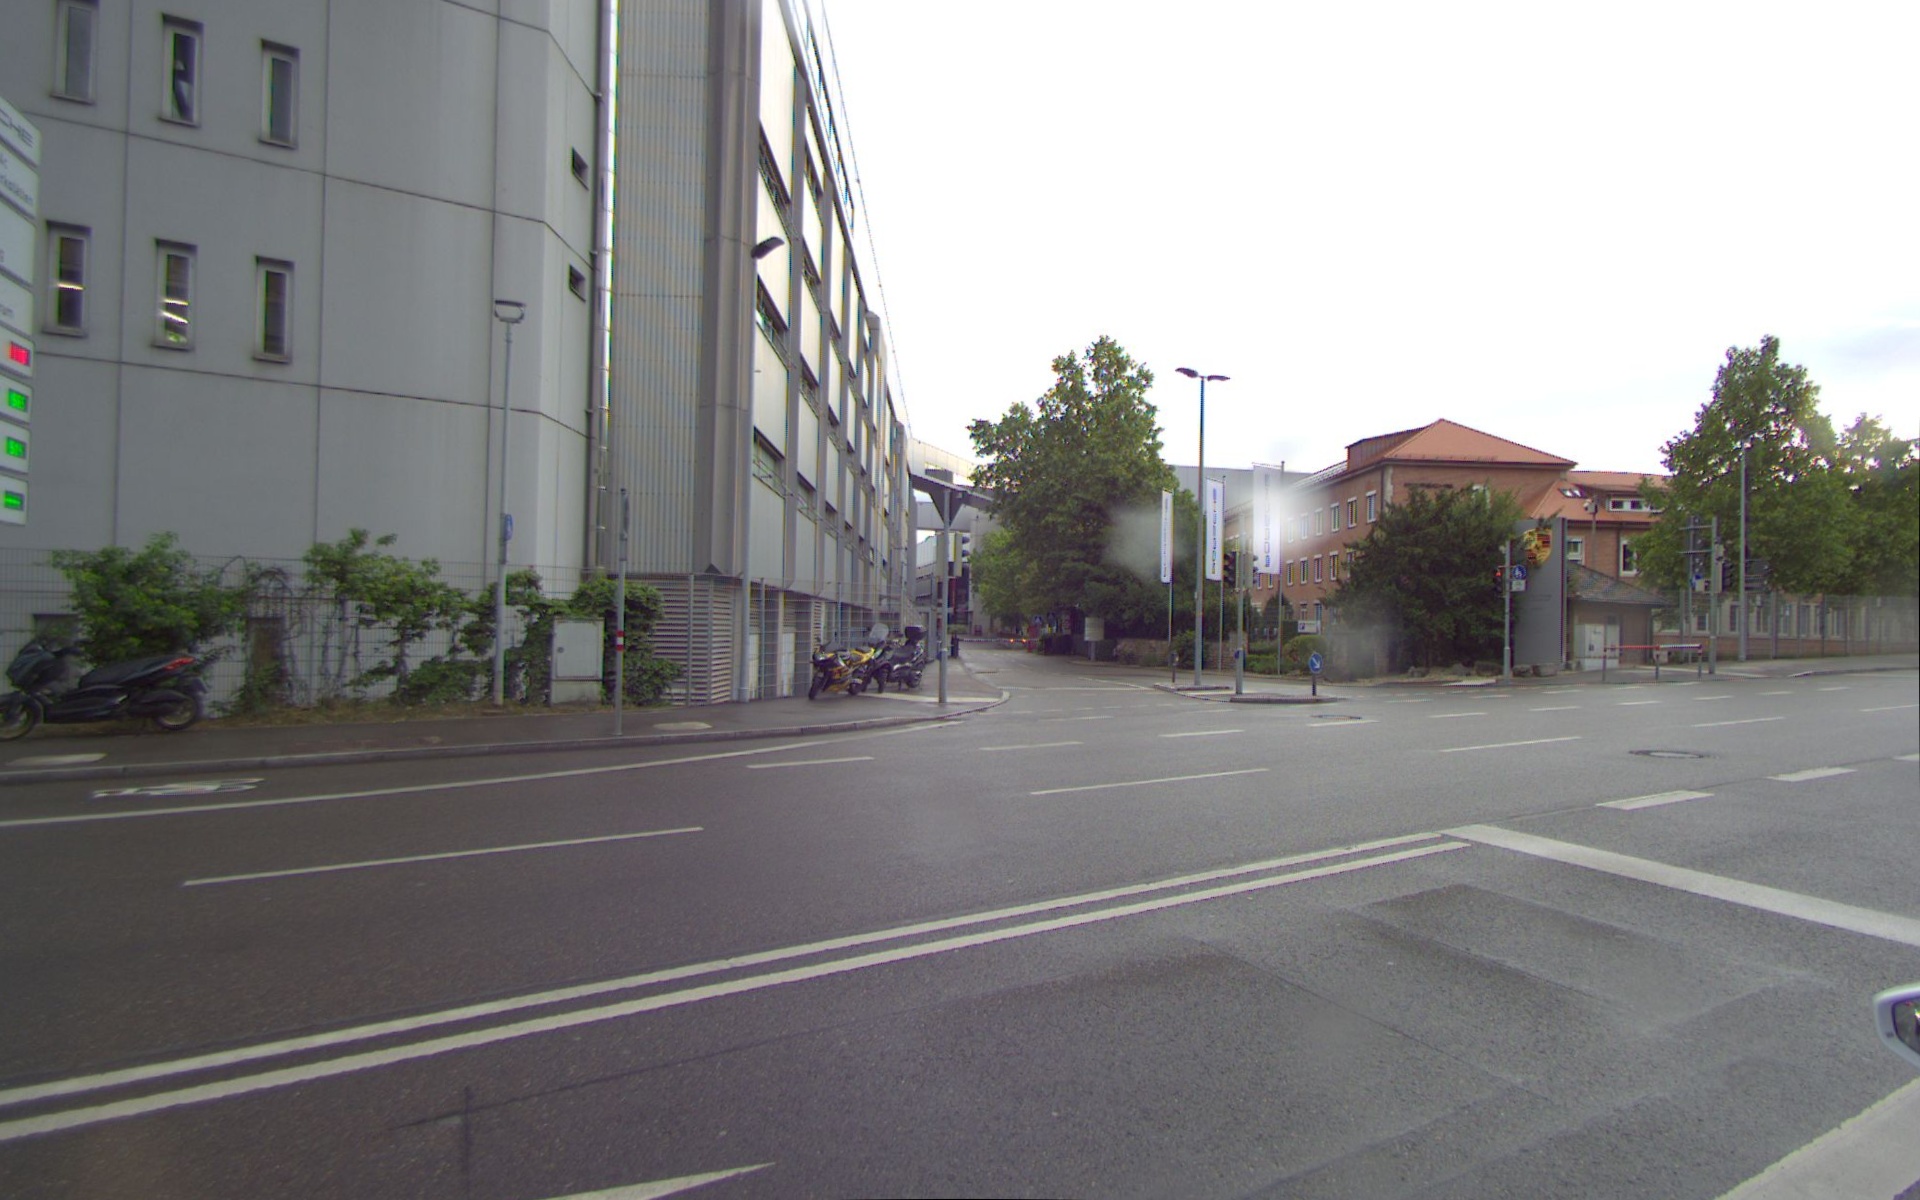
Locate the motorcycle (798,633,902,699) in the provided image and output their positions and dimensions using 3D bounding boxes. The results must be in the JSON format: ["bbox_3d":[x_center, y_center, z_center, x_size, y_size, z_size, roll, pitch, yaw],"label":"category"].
[{"bbox_3d":[-2.209,1.315,20.600,0.759,1.234,2.504,0,-1,30],"label":"motorcycle"}]

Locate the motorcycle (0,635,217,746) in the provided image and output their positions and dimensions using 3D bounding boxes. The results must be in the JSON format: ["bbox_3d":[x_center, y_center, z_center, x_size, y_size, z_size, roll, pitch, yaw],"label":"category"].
[{"bbox_3d":[-10.481,1.068,12.297,2.133,1.263,0.780,1,-1,-31],"label":"motorcycle"}]

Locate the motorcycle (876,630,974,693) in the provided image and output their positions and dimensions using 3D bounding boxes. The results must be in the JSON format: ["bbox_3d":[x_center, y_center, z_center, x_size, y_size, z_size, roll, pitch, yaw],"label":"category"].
[{"bbox_3d":[-0.754,1.362,23.036,1.008,1.355,2.772,-1,-2,27],"label":"motorcycle"}]

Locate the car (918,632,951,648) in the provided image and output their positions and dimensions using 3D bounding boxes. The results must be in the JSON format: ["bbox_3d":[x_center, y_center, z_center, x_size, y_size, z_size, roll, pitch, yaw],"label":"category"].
[{"bbox_3d":[-3.348,5.262,131.653,3.913,1.849,1.955,2,1,-31],"label":"car"}]
